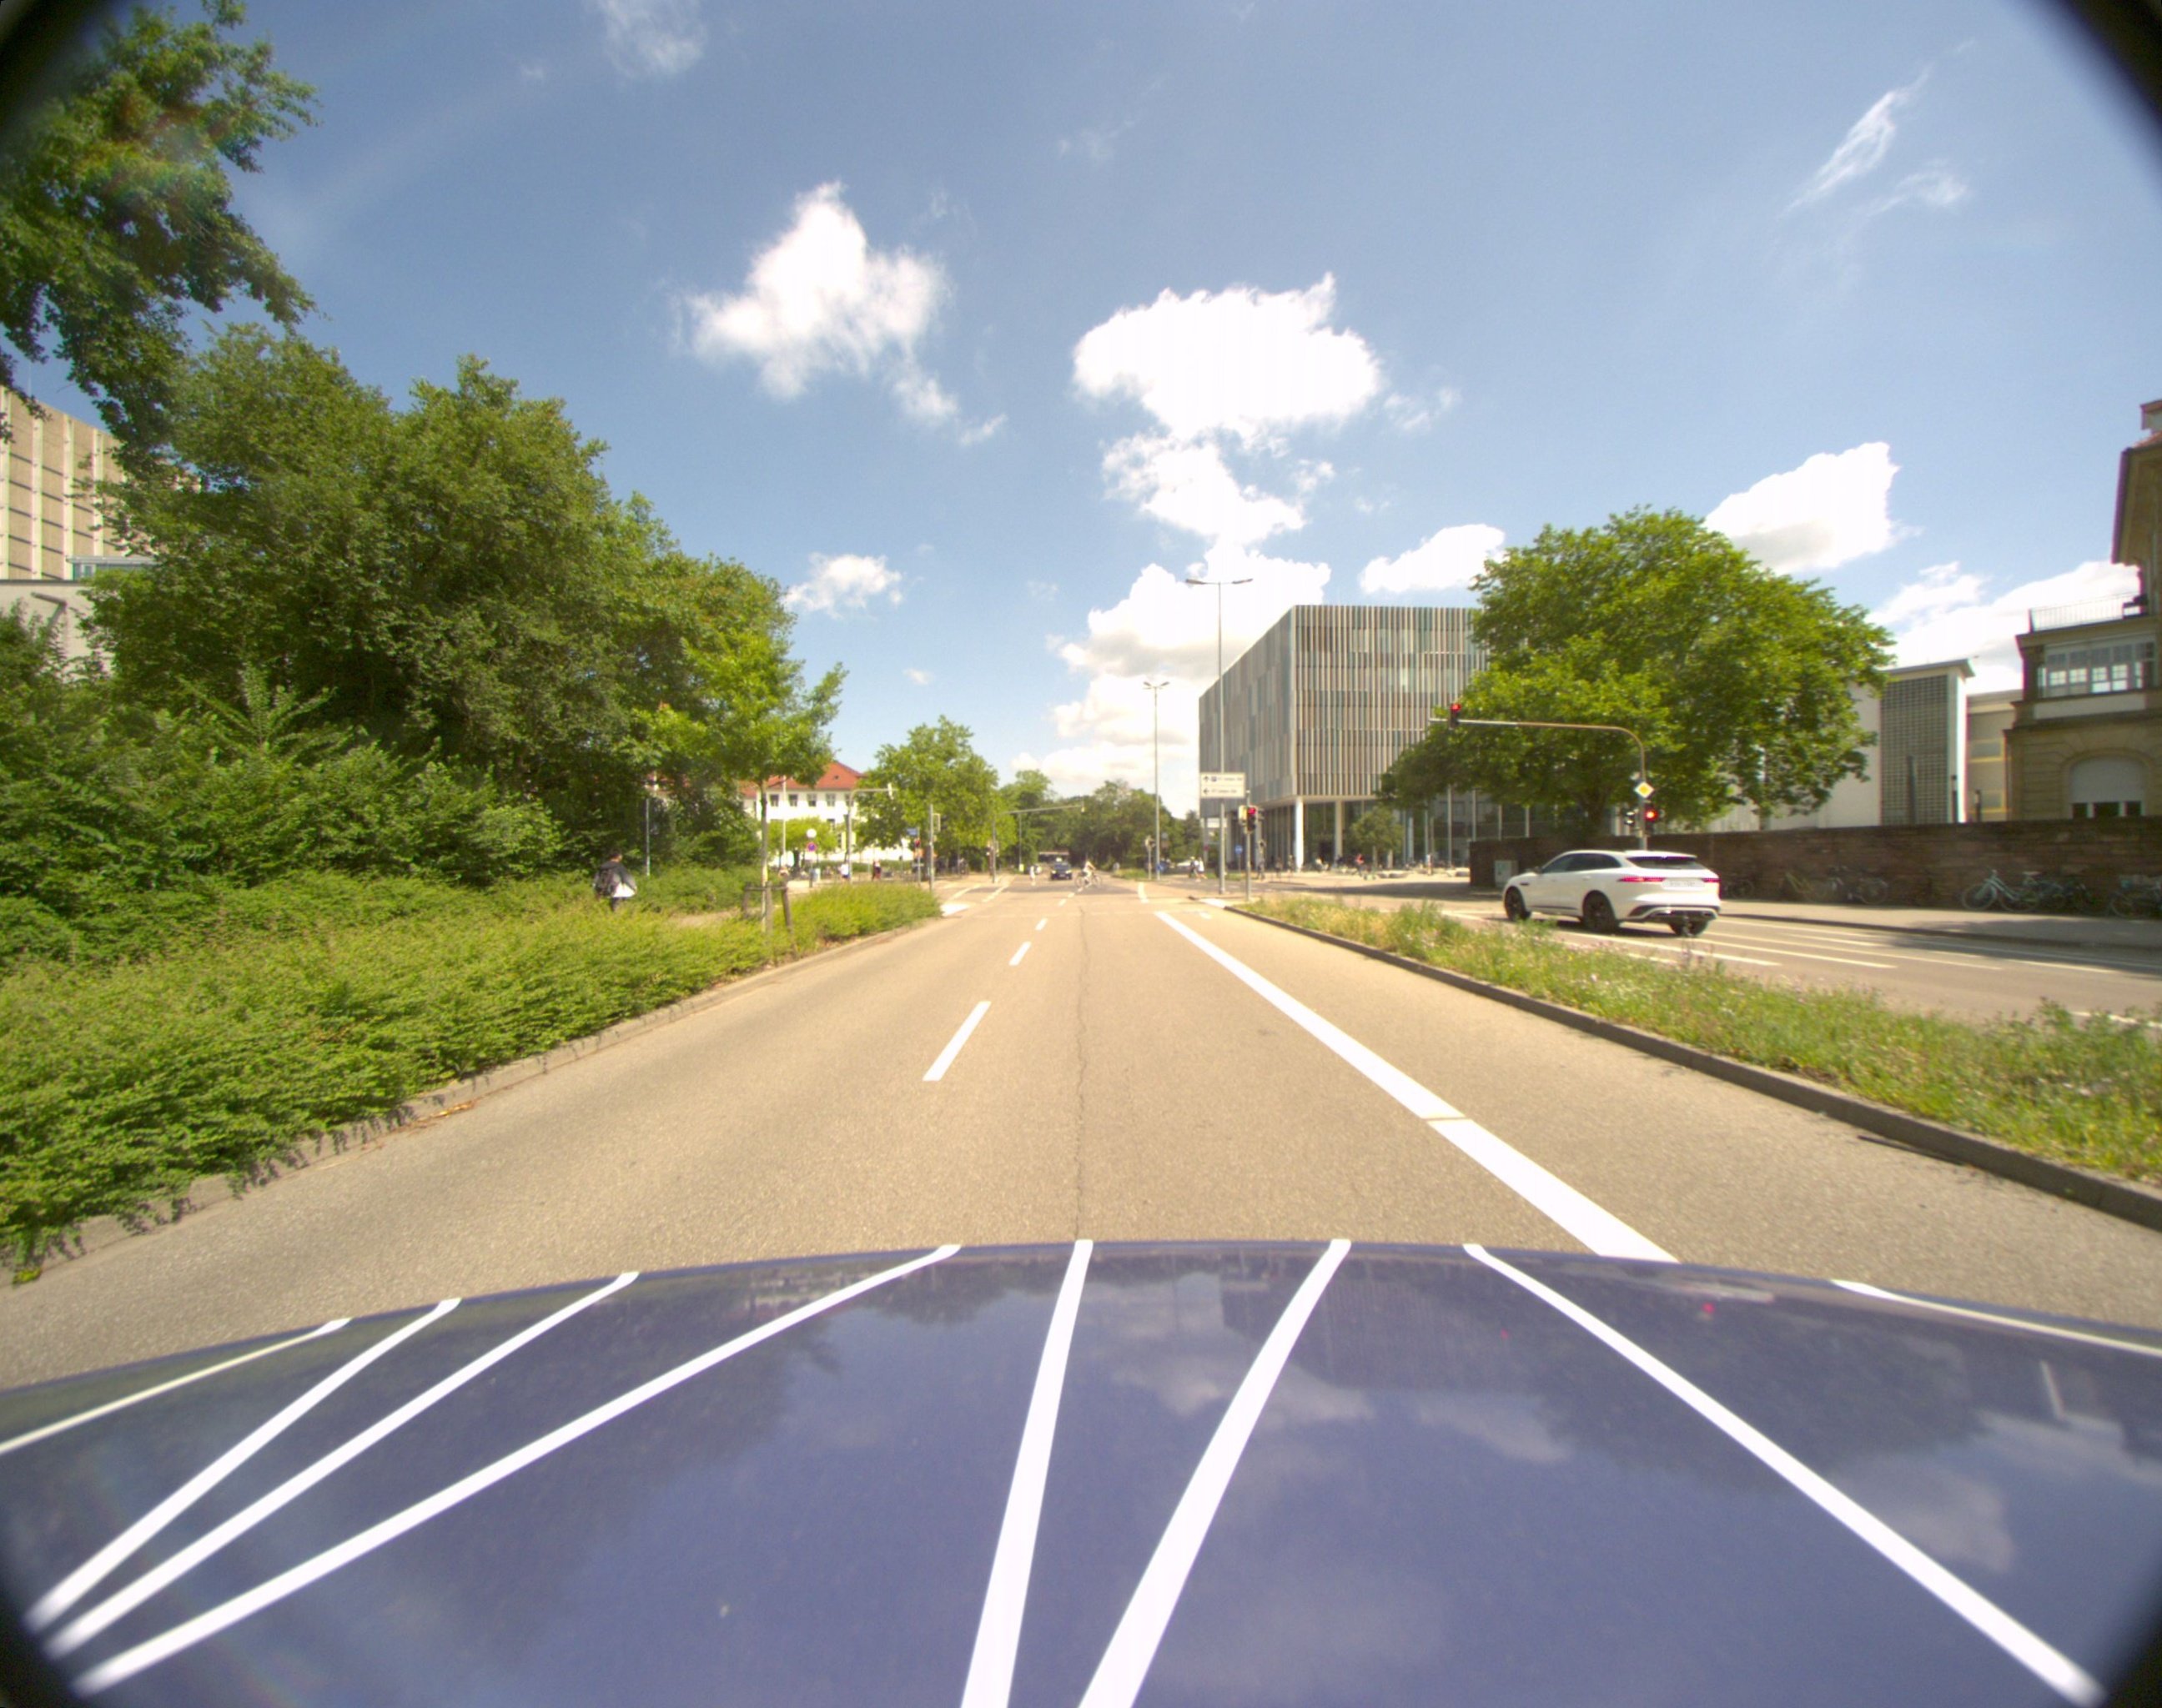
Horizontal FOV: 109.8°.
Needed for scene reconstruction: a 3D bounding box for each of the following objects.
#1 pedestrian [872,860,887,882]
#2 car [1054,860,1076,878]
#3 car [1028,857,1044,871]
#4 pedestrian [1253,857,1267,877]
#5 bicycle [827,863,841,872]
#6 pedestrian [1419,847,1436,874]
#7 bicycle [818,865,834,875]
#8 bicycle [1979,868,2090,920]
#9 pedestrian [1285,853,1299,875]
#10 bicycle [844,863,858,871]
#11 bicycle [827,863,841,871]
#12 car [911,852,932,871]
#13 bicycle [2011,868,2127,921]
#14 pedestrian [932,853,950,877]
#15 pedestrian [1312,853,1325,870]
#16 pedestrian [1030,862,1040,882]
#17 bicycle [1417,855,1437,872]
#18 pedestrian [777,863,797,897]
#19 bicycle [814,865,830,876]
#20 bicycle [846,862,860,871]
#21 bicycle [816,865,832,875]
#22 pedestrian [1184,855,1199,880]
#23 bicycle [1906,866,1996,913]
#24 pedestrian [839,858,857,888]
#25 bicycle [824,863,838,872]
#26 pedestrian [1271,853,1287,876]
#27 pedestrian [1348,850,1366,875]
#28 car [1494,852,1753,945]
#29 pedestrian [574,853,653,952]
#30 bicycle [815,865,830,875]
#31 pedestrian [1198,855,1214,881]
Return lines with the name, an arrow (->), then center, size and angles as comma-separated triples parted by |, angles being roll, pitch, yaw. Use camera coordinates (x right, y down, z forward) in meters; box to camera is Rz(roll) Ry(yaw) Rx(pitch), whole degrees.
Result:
pedestrian -> -14.944, 1.283, 56.306 | 1.064, 1.588, 0.970 | -1, 1, -15
car -> -1.429, 1.323, 68.275 | 1.846, 1.593, 3.999 | -1, 0, -3
car -> -5.913, 1.353, 99.703 | 1.913, 1.772, 3.998 | -1, 0, -4
pedestrian -> 14.724, 1.070, 62.427 | 0.969, 1.619, 0.880 | -1, 1, 24
bicycle -> -27.384, 1.456, 84.105 | 1.429, 0.945, 0.352 | -1, 0, -6
pedestrian -> 25.280, 0.470, 55.495 | 1.107, 1.914, 0.973 | -1, 1, 23
bicycle -> -25.027, 1.528, 74.568 | 1.371, 0.945, 0.352 | -1, 0, -6
bicycle -> 22.677, 0.926, 18.105 | 0.403, 1.145, 1.591 | -1, 0, -23
pedestrian -> 18.111, 0.844, 65.259 | 0.969, 1.914, 0.880 | -1, 1, 26
bicycle -> -25.381, 1.438, 83.891 | 1.429, 0.945, 0.352 | -1, 0, -6
bicycle -> -27.445, 1.452, 84.515 | 1.429, 0.945, 0.352 | -1, 0, -6
car -> -17.634, 0.868, 84.276 | 2.000, 2.042, 4.225 | -1, 0, -9
bicycle -> 22.529, 0.904, 17.350 | 0.403, 1.145, 1.590 | -1, 0, -33
pedestrian -> -11.290, 0.868, 61.397 | 1.030, 1.914, 0.973 | -1, 1, 20
pedestrian -> 24.961, 0.791, 79.900 | 1.011, 1.697, 1.213 | -1, 0, 33
pedestrian -> -3.440, 1.372, 57.019 | 0.591, 1.495, 0.416 | -1, 1, -19
bicycle -> 31.910, 0.894, 70.085 | 0.997, 1.543, 3.422 | 0, 0, 36
pedestrian -> -14.368, 1.269, 37.151 | 0.633, 1.617, 0.647 | 0, 1, 35
bicycle -> -24.378, 1.554, 71.421 | 1.371, 0.945, 0.352 | -1, 0, -6
bicycle -> -25.475, 1.428, 84.980 | 1.429, 0.945, 0.352 | -1, 0, -6
bicycle -> -24.992, 1.549, 73.910 | 1.371, 0.945, 0.352 | -1, 0, -6
pedestrian -> 8.477, 1.015, 58.132 | 1.108, 1.914, 0.972 | -1, 1, 9
bicycle -> 22.555, 0.895, 19.739 | 0.413, 1.145, 1.593 | -1, 0, -6
pedestrian -> -14.842, 1.201, 48.488 | 0.878, 1.861, 0.971 | -1, 1, -5
bicycle -> -27.435, 1.463, 83.436 | 1.429, 0.945, 0.352 | -1, 0, -6
pedestrian -> 16.541, 0.886, 63.436 | 0.969, 1.914, 0.881 | 0, 1, 44
pedestrian -> 21.442, 0.675, 59.048 | 1.108, 1.914, 0.972 | -1, 1, 4
car -> 11.014, 0.812, 15.998 | 2.076, 1.657, 4.775 | -1, 0, 1
pedestrian -> -8.454, 0.851, 13.782 | 0.815, 1.711, 0.929 | -1, 1, 1
bicycle -> -24.914, 1.573, 73.262 | 1.371, 0.945, 0.352 | -1, 1, -6
pedestrian -> 9.356, 1.021, 56.772 | 1.107, 1.914, 0.973 | -1, 1, 14
